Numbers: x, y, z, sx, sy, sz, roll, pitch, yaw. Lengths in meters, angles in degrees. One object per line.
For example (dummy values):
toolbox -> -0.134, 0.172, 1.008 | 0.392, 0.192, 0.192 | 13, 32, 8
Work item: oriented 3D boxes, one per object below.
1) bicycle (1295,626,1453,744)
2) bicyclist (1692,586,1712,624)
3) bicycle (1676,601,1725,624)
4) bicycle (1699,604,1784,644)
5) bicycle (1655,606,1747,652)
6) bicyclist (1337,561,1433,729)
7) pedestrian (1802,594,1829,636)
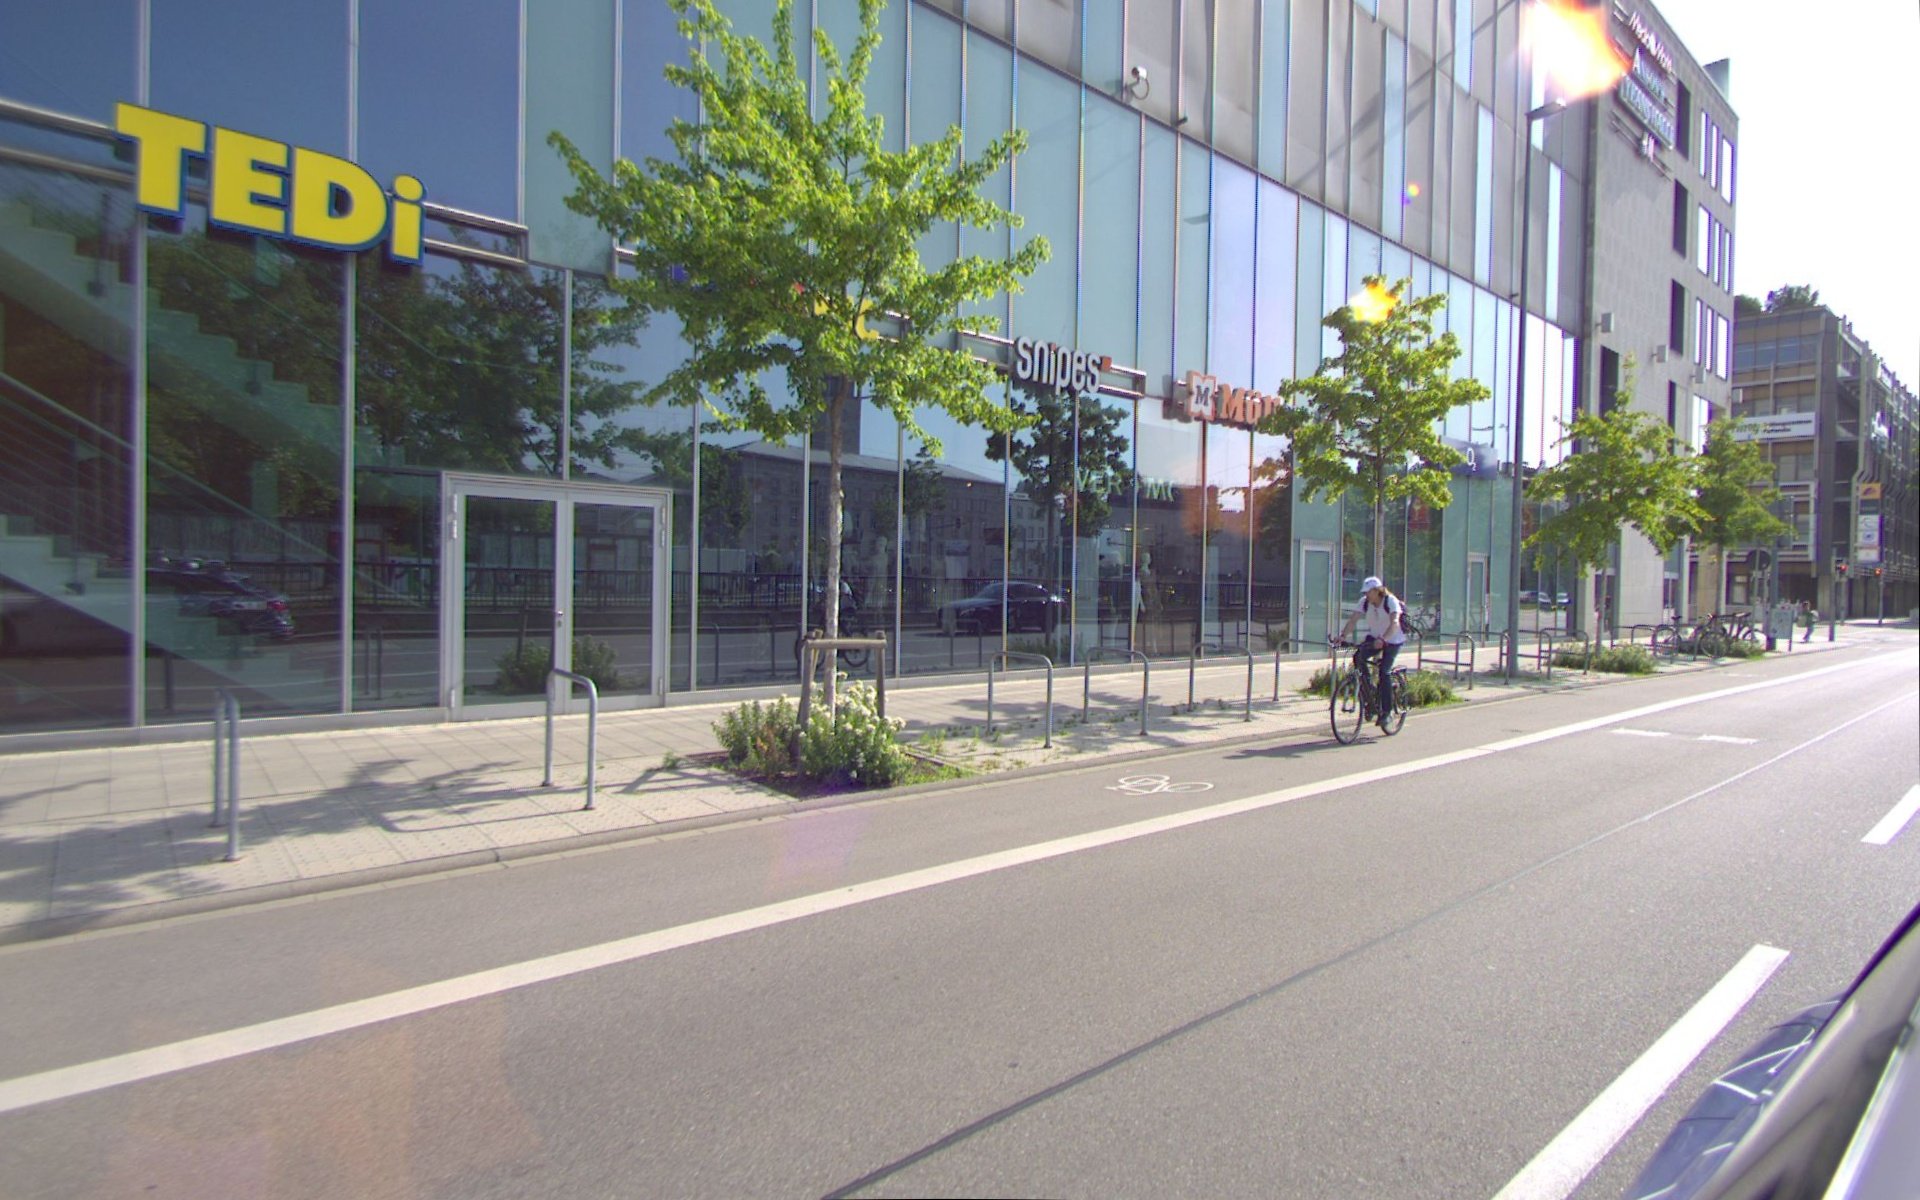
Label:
bicycle -> 4.539, 0.873, 11.028 | 2.013, 1.131, 0.662 | 1, 1, -38
bicyclist -> 35.500, 0.228, 48.440 | 0.572, 1.759, 0.636 | 1, 1, -40
bicycle -> 35.454, 0.602, 48.474 | 0.601, 1.030, 1.806 | 1, 1, -40
bicycle -> 22.600, 0.680, 29.285 | 0.674, 1.127, 1.844 | 1, -1, -38
bicycle -> 19.475, 0.748, 26.624 | 0.481, 1.123, 1.883 | 1, 1, -38
bicyclist -> 4.673, 0.467, 11.125 | 0.755, 1.771, 0.653 | 1, 1, -38
pedestrian -> 31.489, 0.554, 37.241 | 0.707, 1.506, 0.595 | 2, 1, 43
